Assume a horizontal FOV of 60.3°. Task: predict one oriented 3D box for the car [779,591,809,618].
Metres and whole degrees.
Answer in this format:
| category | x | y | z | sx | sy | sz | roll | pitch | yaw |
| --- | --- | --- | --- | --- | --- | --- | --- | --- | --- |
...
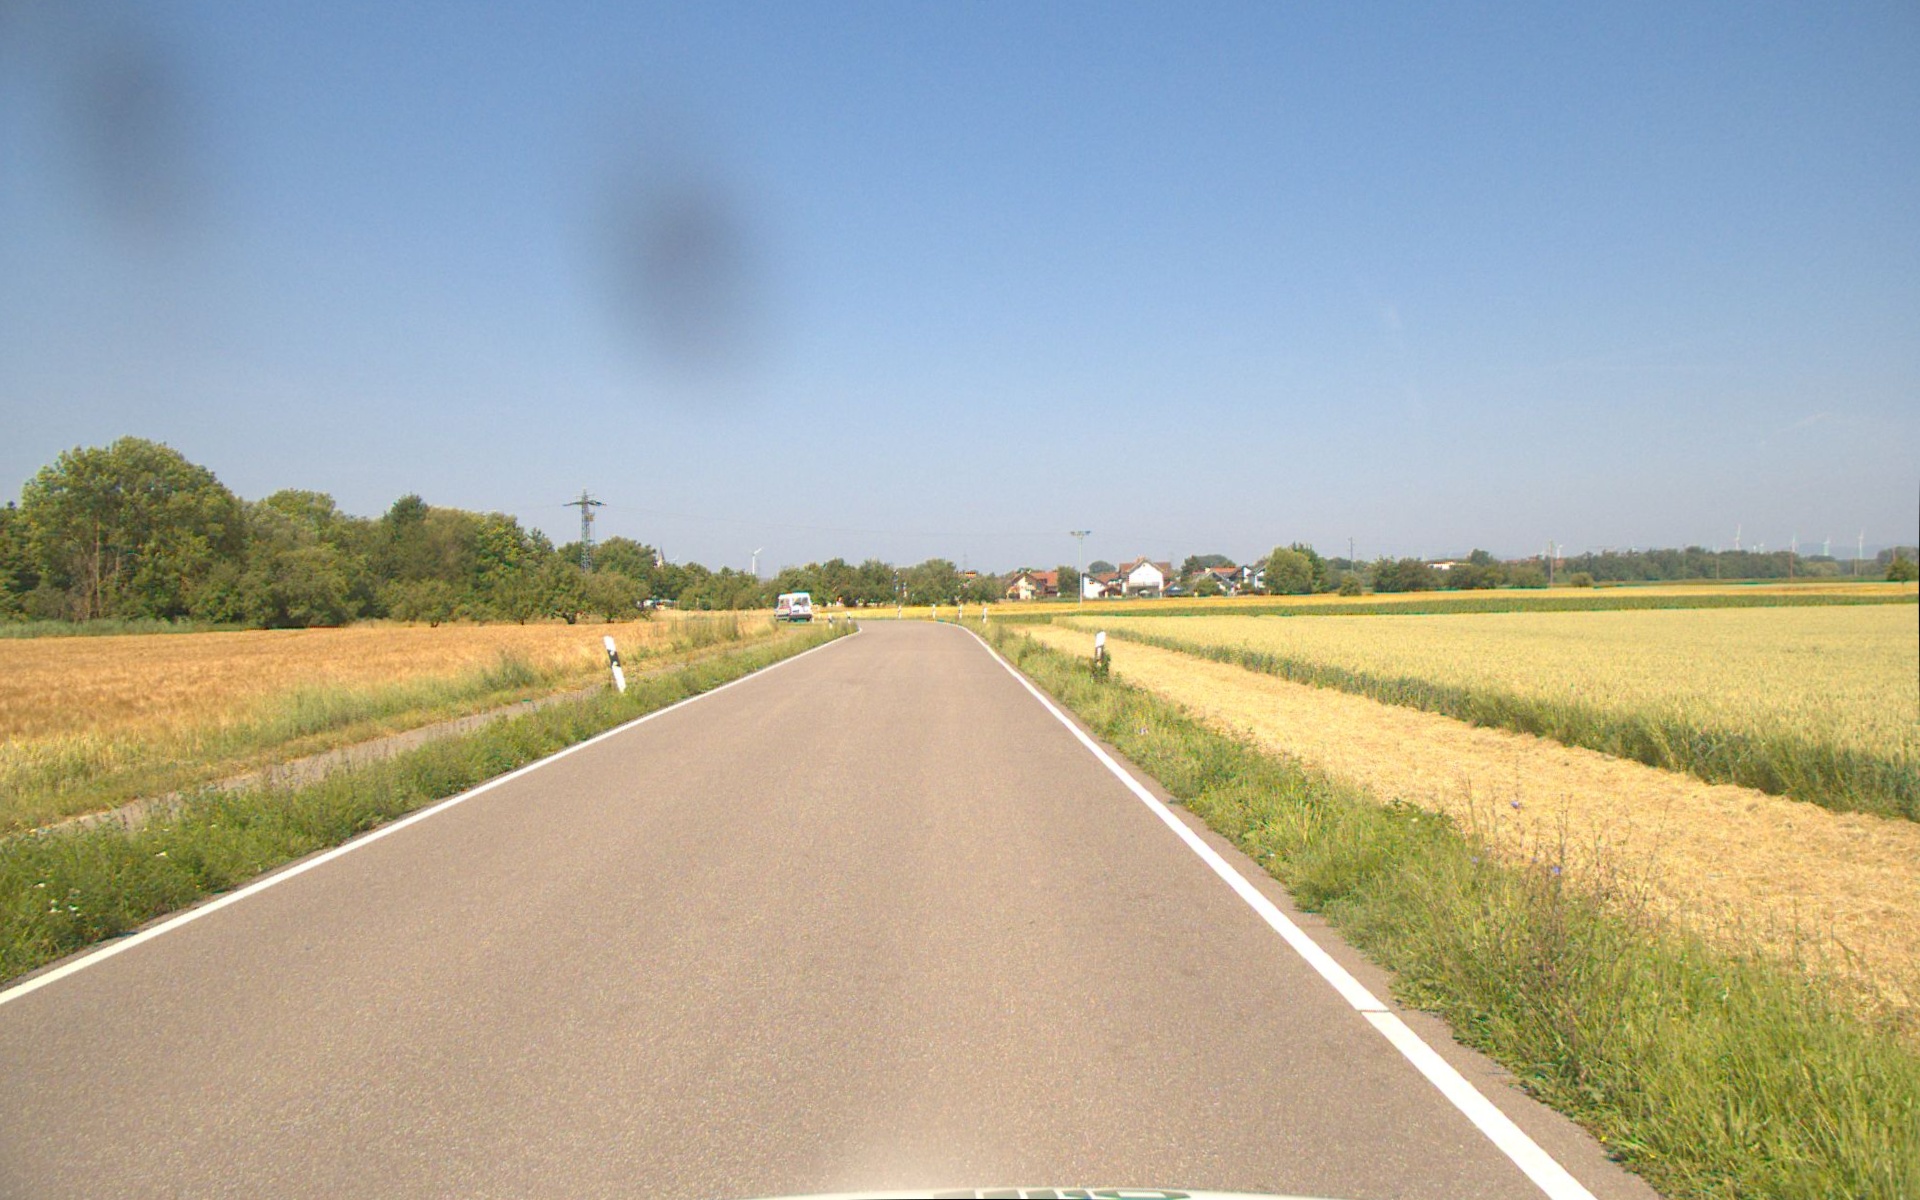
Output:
| category | x | y | z | sx | sy | sz | roll | pitch | yaw |
| --- | --- | --- | --- | --- | --- | --- | --- | --- | --- |
| car | -14.714 | 0.421 | 146.346 | 2.069 | 2.344 | 5.481 | 1 | 0 | -11 |
